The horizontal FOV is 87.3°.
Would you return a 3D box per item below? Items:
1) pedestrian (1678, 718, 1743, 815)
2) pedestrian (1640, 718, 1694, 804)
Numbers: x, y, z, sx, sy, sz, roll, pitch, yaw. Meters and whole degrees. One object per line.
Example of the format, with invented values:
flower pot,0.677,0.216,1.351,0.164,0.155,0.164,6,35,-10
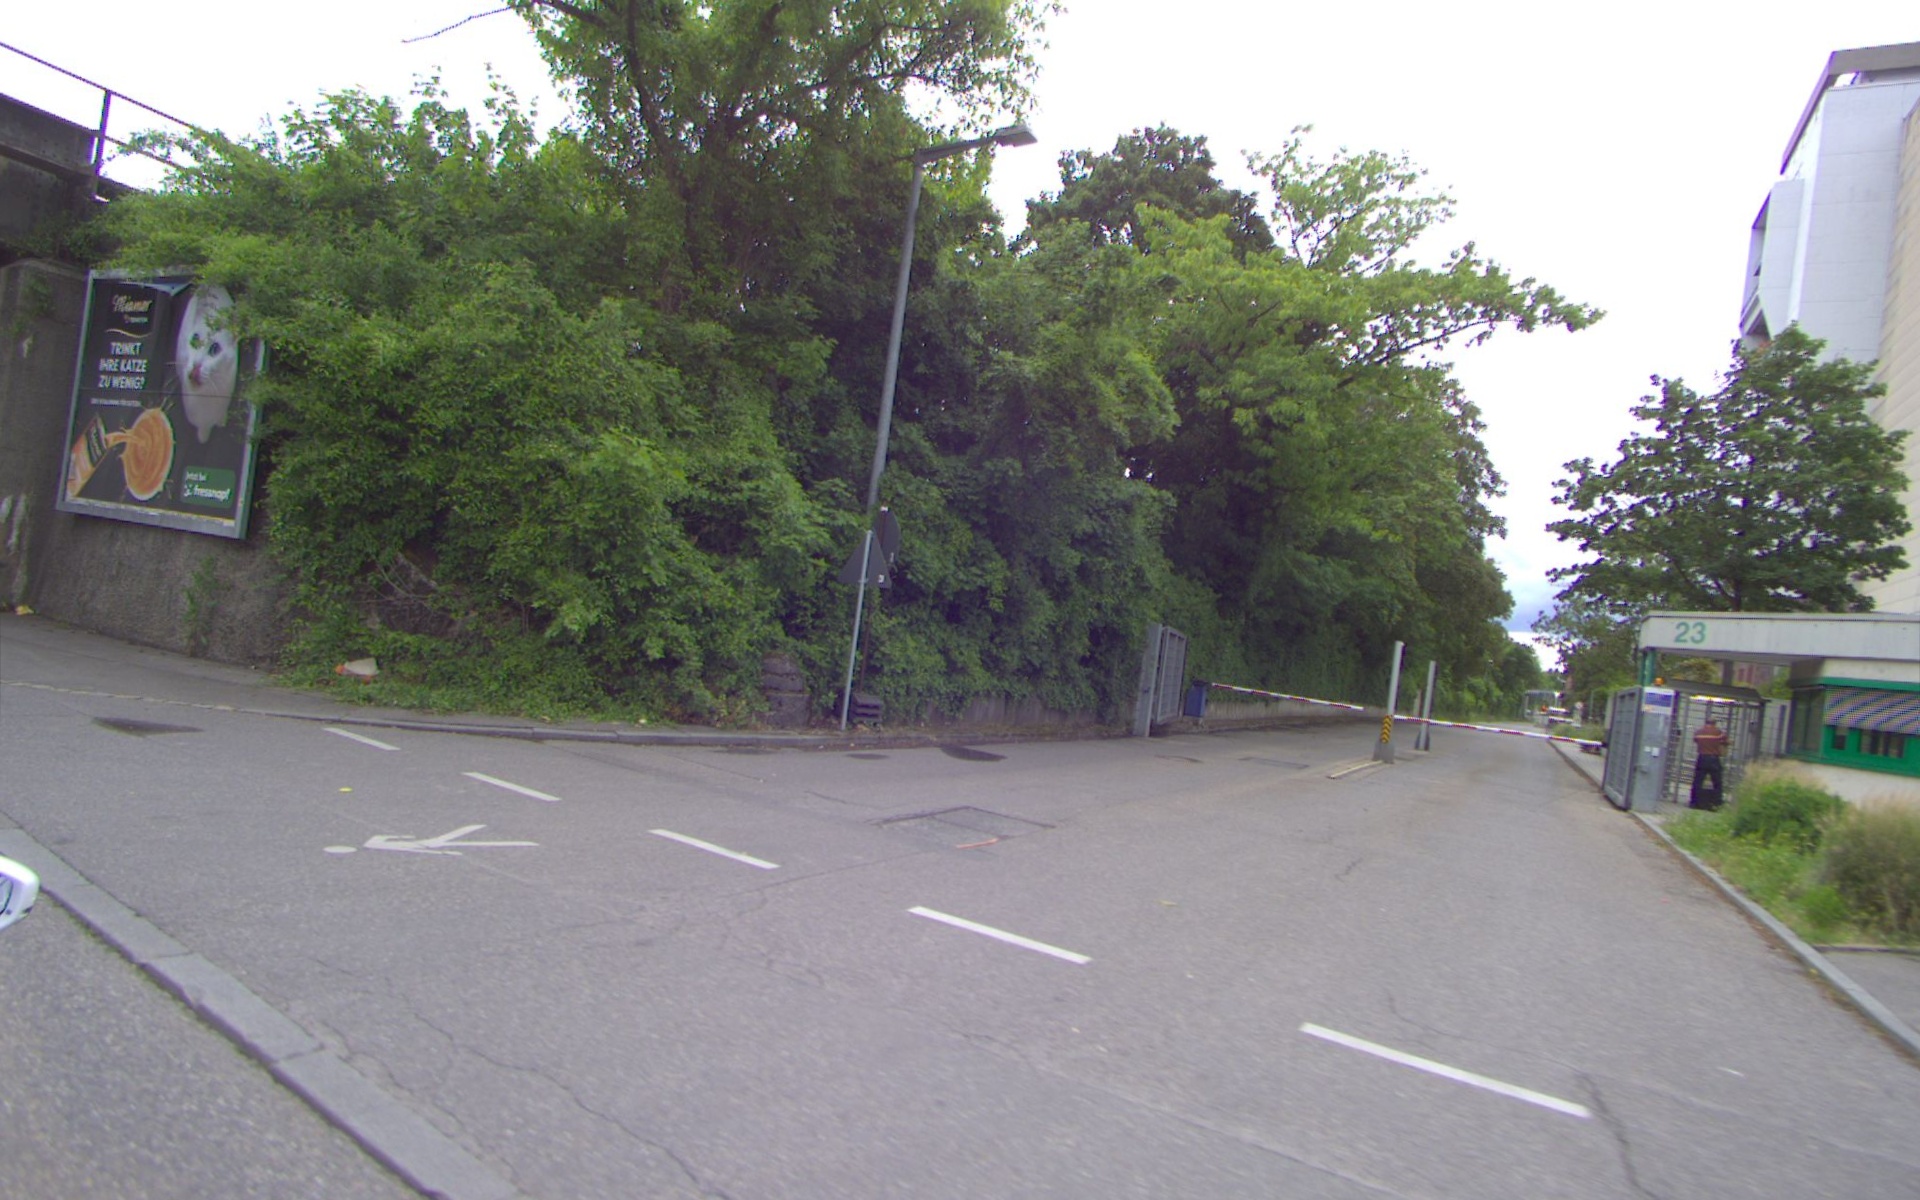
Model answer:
pedestrian,14.012,3.089,18.799,0.771,1.640,0.713,8,0,37
pedestrian,15.368,3.479,21.860,0.771,1.706,0.713,8,0,37
